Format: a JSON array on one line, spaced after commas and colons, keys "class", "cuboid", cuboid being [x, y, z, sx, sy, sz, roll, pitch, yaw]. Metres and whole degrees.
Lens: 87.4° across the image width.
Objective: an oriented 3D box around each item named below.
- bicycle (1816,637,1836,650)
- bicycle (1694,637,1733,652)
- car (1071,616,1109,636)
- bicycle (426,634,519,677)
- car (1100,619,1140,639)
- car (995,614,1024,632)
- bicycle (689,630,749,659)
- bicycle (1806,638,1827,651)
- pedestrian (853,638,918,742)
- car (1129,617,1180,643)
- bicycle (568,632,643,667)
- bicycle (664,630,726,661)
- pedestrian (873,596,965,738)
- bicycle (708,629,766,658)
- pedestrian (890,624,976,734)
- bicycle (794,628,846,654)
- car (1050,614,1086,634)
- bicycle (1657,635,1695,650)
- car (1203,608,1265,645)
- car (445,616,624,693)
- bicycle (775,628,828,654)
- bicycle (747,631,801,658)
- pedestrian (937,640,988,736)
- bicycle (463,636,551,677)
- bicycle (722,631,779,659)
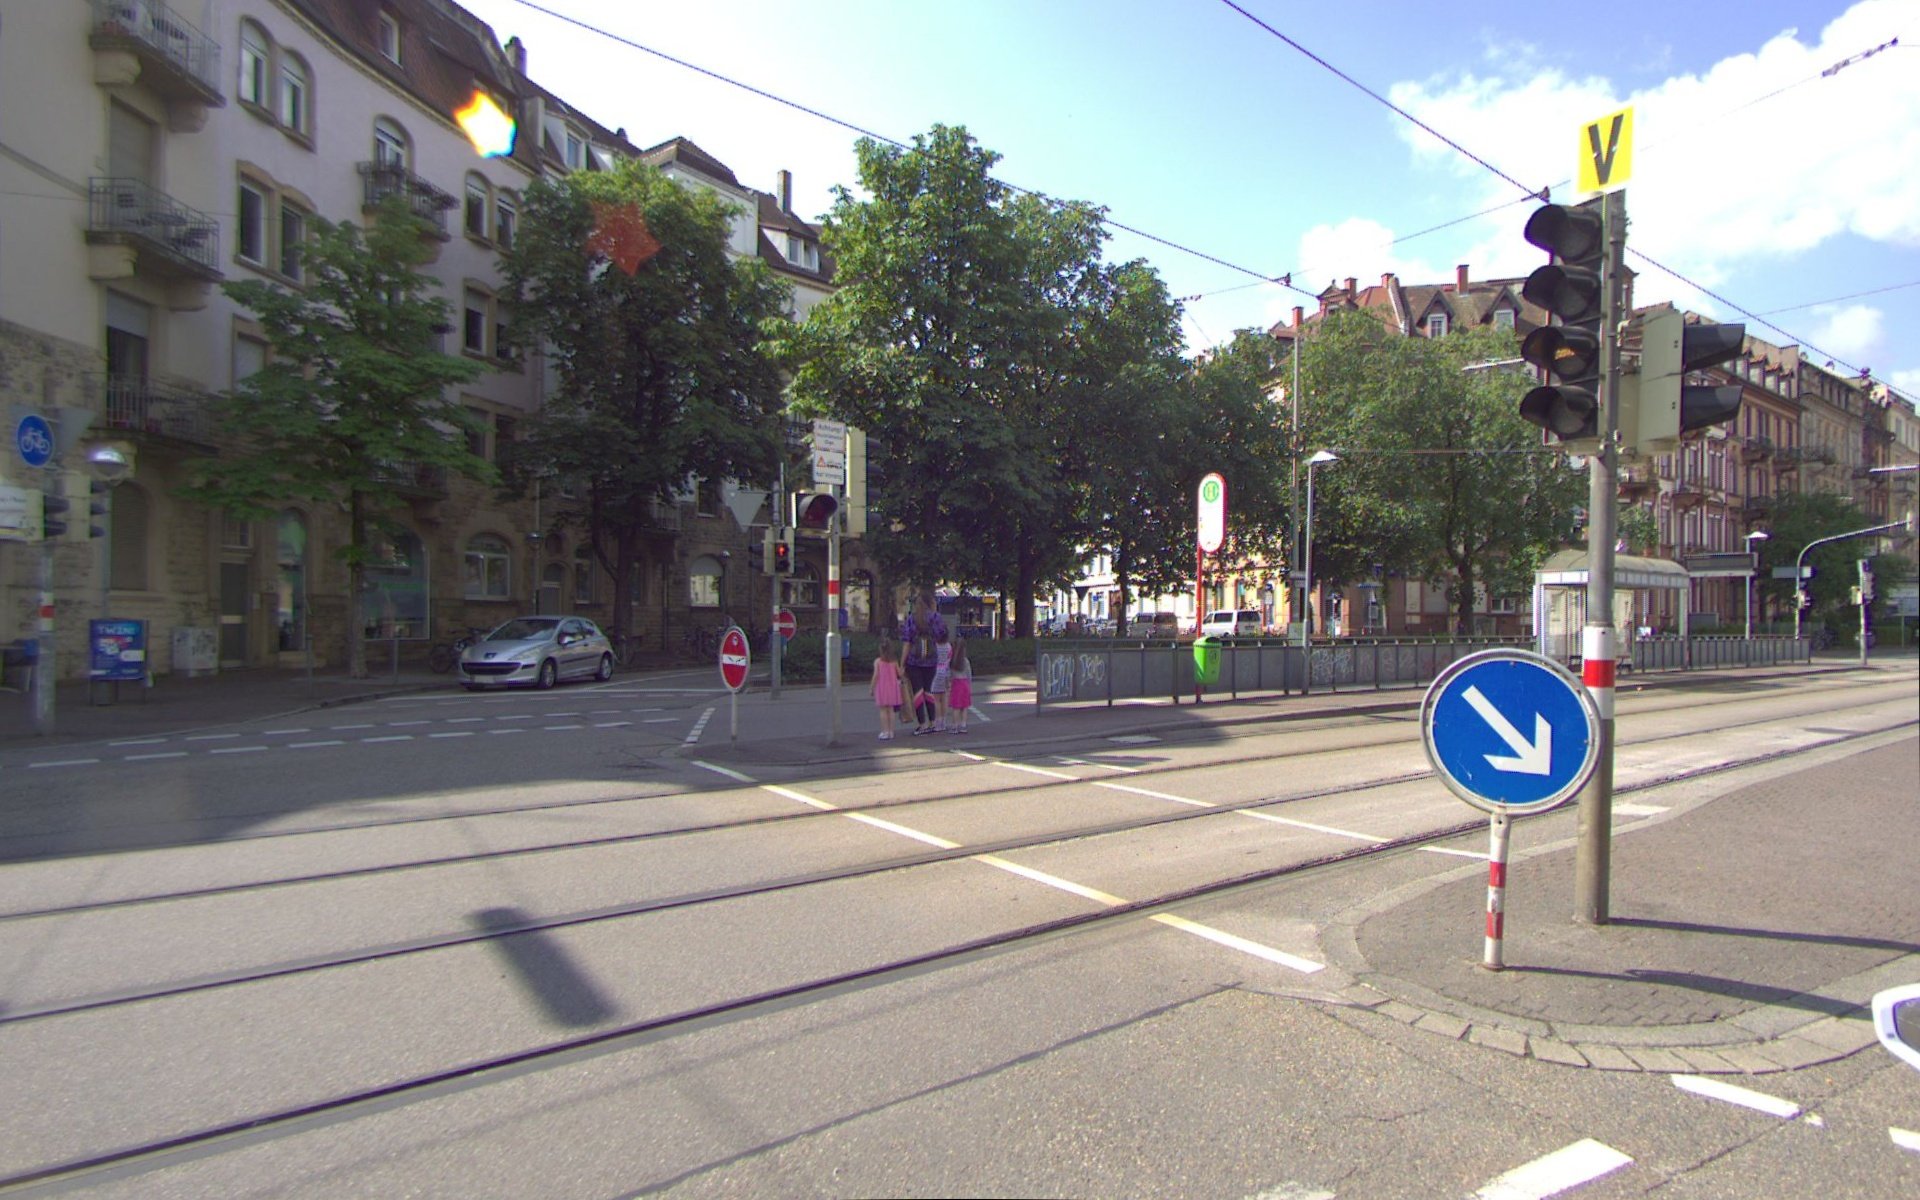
[{"class": "bicycle", "cuboid": [48.216, 2.409, 55.904, 1.692, 0.686, 0.383, 1, -1, -32]}, {"class": "bicycle", "cuboid": [38.578, 2.261, 51.428, 1.677, 0.757, 0.386, 0, -1, 0]}, {"class": "car", "cuboid": [10.031, 1.992, 77.587, 1.603, 1.513, 3.635, 1, -1, -15]}, {"class": "bicycle", "cuboid": [-11.215, 1.271, 23.114, 1.990, 0.894, 0.523, 2, -1, 10]}, {"class": "car", "cuboid": [11.512, 2.071, 72.330, 1.469, 1.411, 3.683, 1, -1, -15]}, {"class": "car", "cuboid": [4.822, 2.252, 98.043, 1.864, 1.694, 3.779, 1, -1, -14]}, {"class": "bicycle", "cuboid": [-8.203, 1.513, 34.237, 1.991, 0.910, 0.572, 1, -1, 21]}, {"class": "bicycle", "cuboid": [46.501, 2.413, 54.544, 1.692, 0.662, 0.383, 1, -1, -32]}, {"class": "pedestrian", "cuboid": [-0.853, 0.999, 11.437, 0.440, 1.129, 0.635, 1, -1, -40]}, {"class": "car", "cuboid": [12.923, 1.980, 66.987, 1.883, 1.685, 3.931, 1, -1, -13]}, {"class": "bicycle", "cuboid": [-10.120, 1.400, 28.666, 1.990, 0.894, 0.547, 2, -1, 10]}, {"class": "bicycle", "cuboid": [-8.749, 1.496, 33.099, 1.991, 0.910, 0.546, 1, -1, 20]}, {"class": "pedestrian", "cuboid": [-0.479, 0.764, 11.784, 0.793, 1.586, 0.722, 1, -1, -41]}, {"class": "bicycle", "cuboid": [-7.801, 1.520, 35.130, 1.992, 0.910, 0.572, 1, -1, 24]}, {"class": "pedestrian", "cuboid": [-0.345, 0.972, 12.570, 0.712, 1.321, 0.818, 1, -3, -41]}, {"class": "bicycle", "cuboid": [-5.423, 1.574, 38.895, 1.993, 0.910, 0.571, 1, -1, 27]}, {"class": "car", "cuboid": [8.817, 1.954, 82.252, 1.688, 1.576, 3.909, 1, -1, -14]}, {"class": "bicycle", "cuboid": [36.615, 2.191, 51.398, 1.677, 0.757, 0.386, 0, -1, 0]}, {"class": "car", "cuboid": [15.624, 1.491, 57.408, 1.824, 2.015, 3.939, 1, -1, -12]}, {"class": "car", "cuboid": [-8.683, 1.069, 20.893, 1.686, 1.439, 3.876, 0, -1, 7]}, {"class": "bicycle", "cuboid": [-6.032, 1.541, 38.225, 1.993, 0.910, 0.571, 1, -1, 27]}, {"class": "bicycle", "cuboid": [-6.870, 1.641, 37.079, 1.993, 0.910, 0.571, 1, -1, 27]}, {"class": "pedestrian", "cuboid": [0.025, 1.042, 12.074, 0.420, 1.122, 0.434, 1, -3, -41]}, {"class": "bicycle", "cuboid": [-11.027, 1.362, 24.452, 1.990, 0.894, 0.512, 2, -1, 10]}, {"class": "bicycle", "cuboid": [-7.489, 1.597, 35.871, 1.992, 0.910, 0.572, 1, -1, 24]}]
